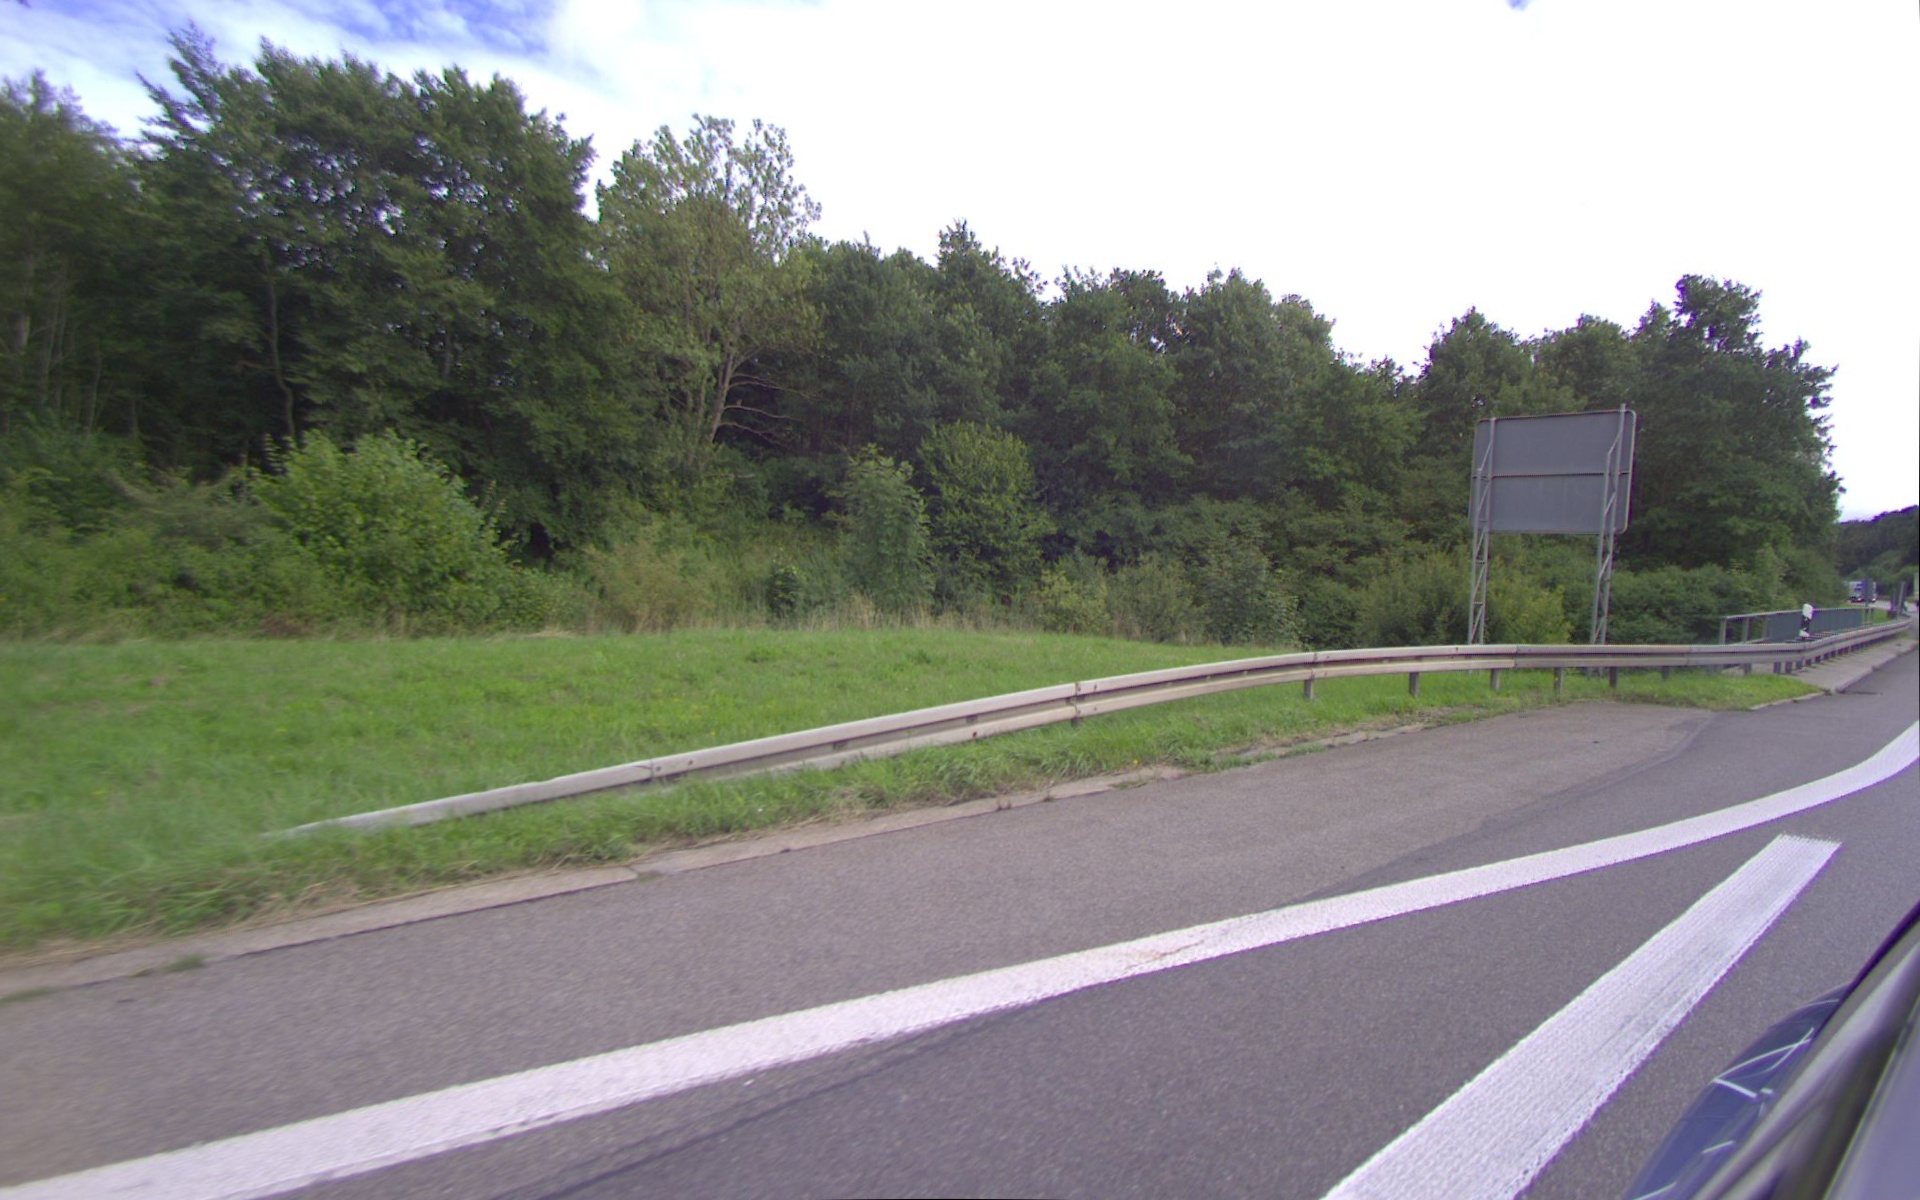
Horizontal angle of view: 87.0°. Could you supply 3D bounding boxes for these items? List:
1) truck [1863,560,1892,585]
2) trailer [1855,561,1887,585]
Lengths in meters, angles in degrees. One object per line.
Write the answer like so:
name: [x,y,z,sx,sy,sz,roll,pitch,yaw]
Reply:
truck: [147.713,-4.402,162.962,2.781,4.021,5.863,1,1,36]
trailer: [152.065,-4.534,169.017,2.772,4.004,11.152,1,2,36]
